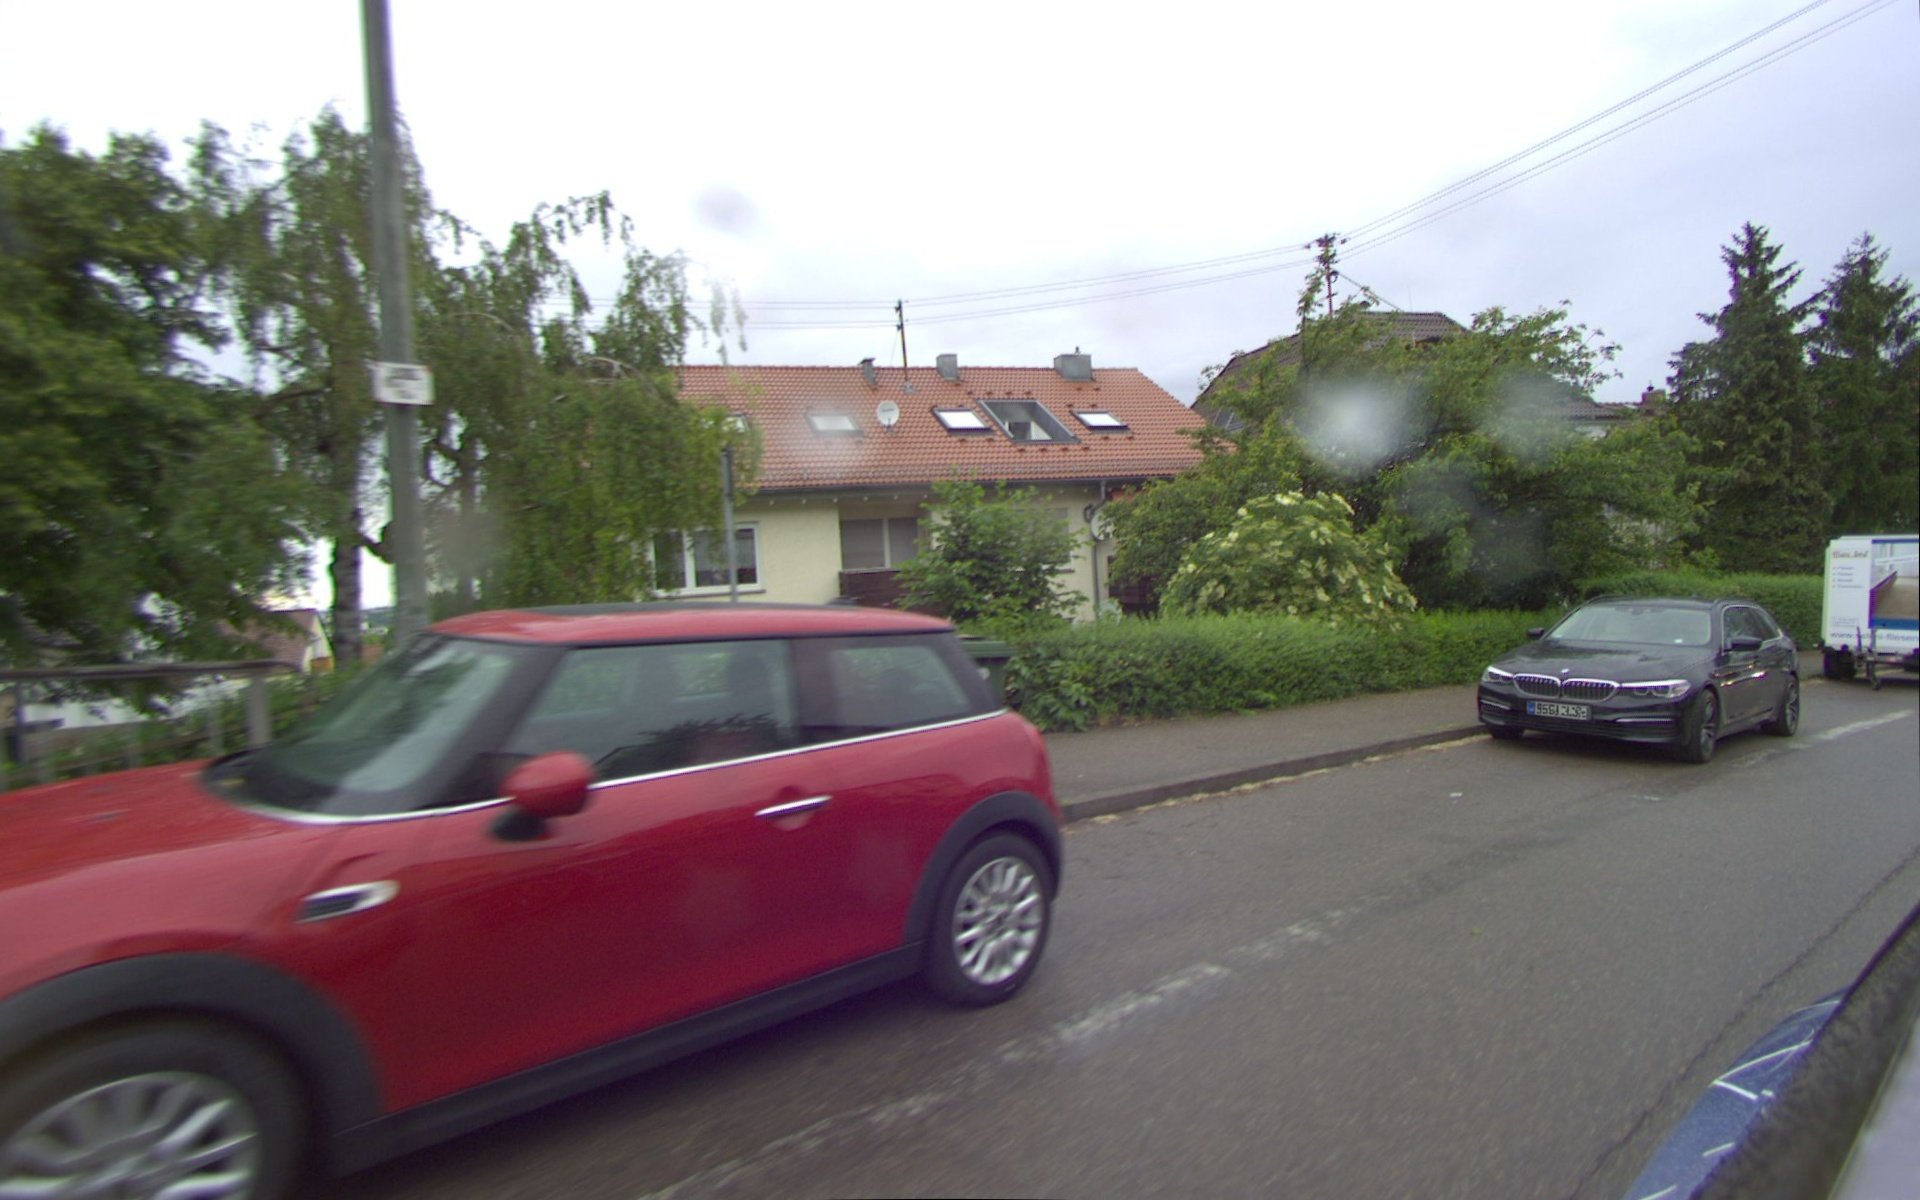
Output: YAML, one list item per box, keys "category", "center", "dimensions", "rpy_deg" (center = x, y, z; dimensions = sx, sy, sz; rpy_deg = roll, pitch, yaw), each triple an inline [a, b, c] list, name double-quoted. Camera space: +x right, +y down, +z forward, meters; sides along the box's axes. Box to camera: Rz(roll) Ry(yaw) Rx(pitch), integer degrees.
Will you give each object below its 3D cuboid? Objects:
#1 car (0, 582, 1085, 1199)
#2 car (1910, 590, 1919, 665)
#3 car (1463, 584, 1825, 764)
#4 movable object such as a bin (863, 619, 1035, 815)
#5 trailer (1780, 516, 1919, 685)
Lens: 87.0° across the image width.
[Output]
- category: "car"
  center: [-1.502, 0.667, 3.246]
  dimensions: [3.786, 1.432, 1.738]
  rpy_deg: [-1, 1, -42]
- category: "car"
  center: [20.854, 0.508, 20.085]
  dimensions: [4.611, 1.442, 1.754]
  rpy_deg: [-1, 1, -31]
- category: "car"
  center: [7.224, 0.574, 10.488]
  dimensions: [4.702, 1.477, 1.797]
  rpy_deg: [-1, 1, -39]
- category: "movable object such as a bin"
  center: [-0.073, 0.687, 6.417]
  dimensions: [0.833, 1.107, 0.715]
  rpy_deg: [0, 0, -39]
- category: "trailer"
  center: [15.952, -0.032, 16.930]
  dimensions: [5.329, 2.487, 1.956]
  rpy_deg: [-1, 1, -33]
